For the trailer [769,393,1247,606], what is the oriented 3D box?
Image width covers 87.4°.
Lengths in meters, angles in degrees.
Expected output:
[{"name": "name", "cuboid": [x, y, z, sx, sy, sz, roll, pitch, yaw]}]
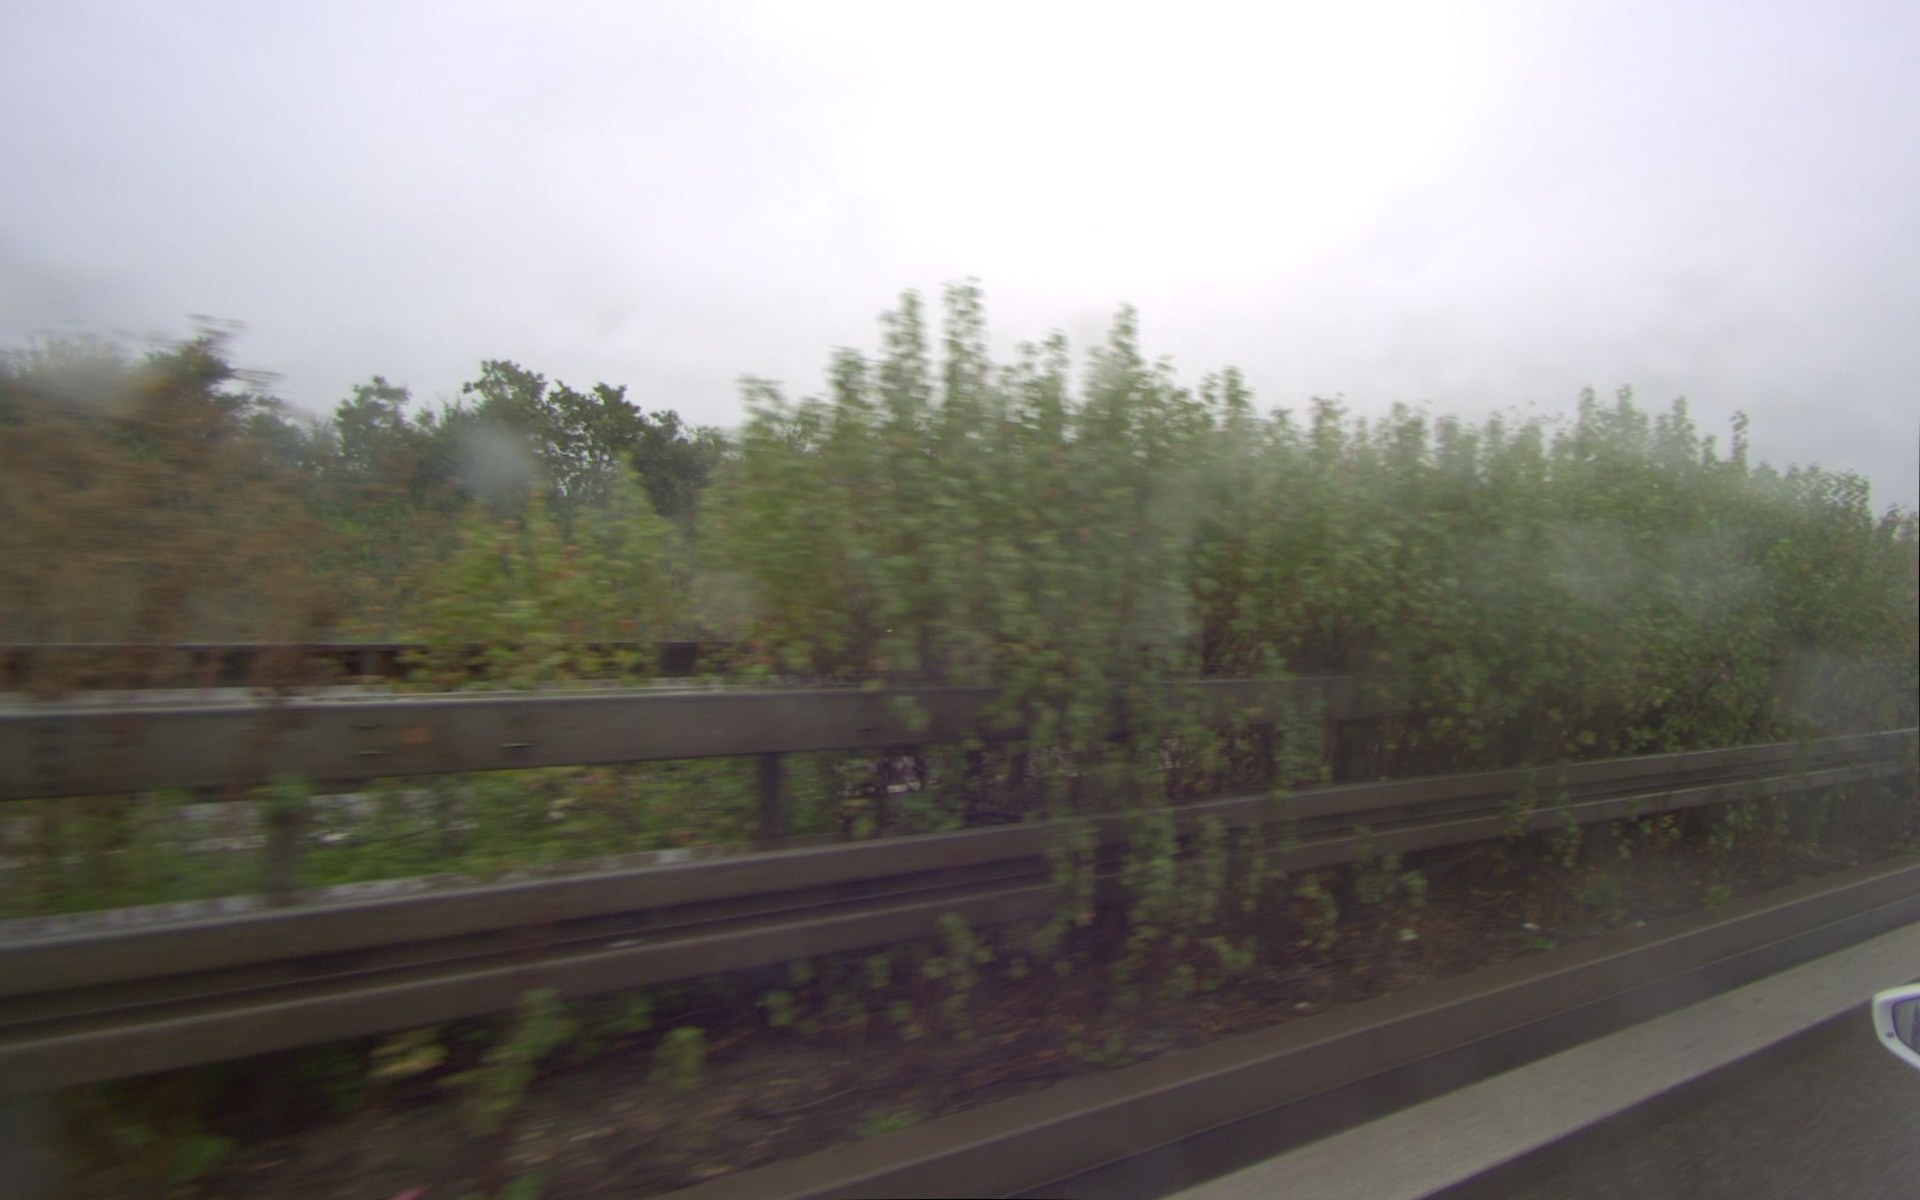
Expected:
[{"name": "trailer", "cuboid": [1.317, -1.608, 19.823, 9.782, 3.309, 2.407, 1, 0, -32]}]
